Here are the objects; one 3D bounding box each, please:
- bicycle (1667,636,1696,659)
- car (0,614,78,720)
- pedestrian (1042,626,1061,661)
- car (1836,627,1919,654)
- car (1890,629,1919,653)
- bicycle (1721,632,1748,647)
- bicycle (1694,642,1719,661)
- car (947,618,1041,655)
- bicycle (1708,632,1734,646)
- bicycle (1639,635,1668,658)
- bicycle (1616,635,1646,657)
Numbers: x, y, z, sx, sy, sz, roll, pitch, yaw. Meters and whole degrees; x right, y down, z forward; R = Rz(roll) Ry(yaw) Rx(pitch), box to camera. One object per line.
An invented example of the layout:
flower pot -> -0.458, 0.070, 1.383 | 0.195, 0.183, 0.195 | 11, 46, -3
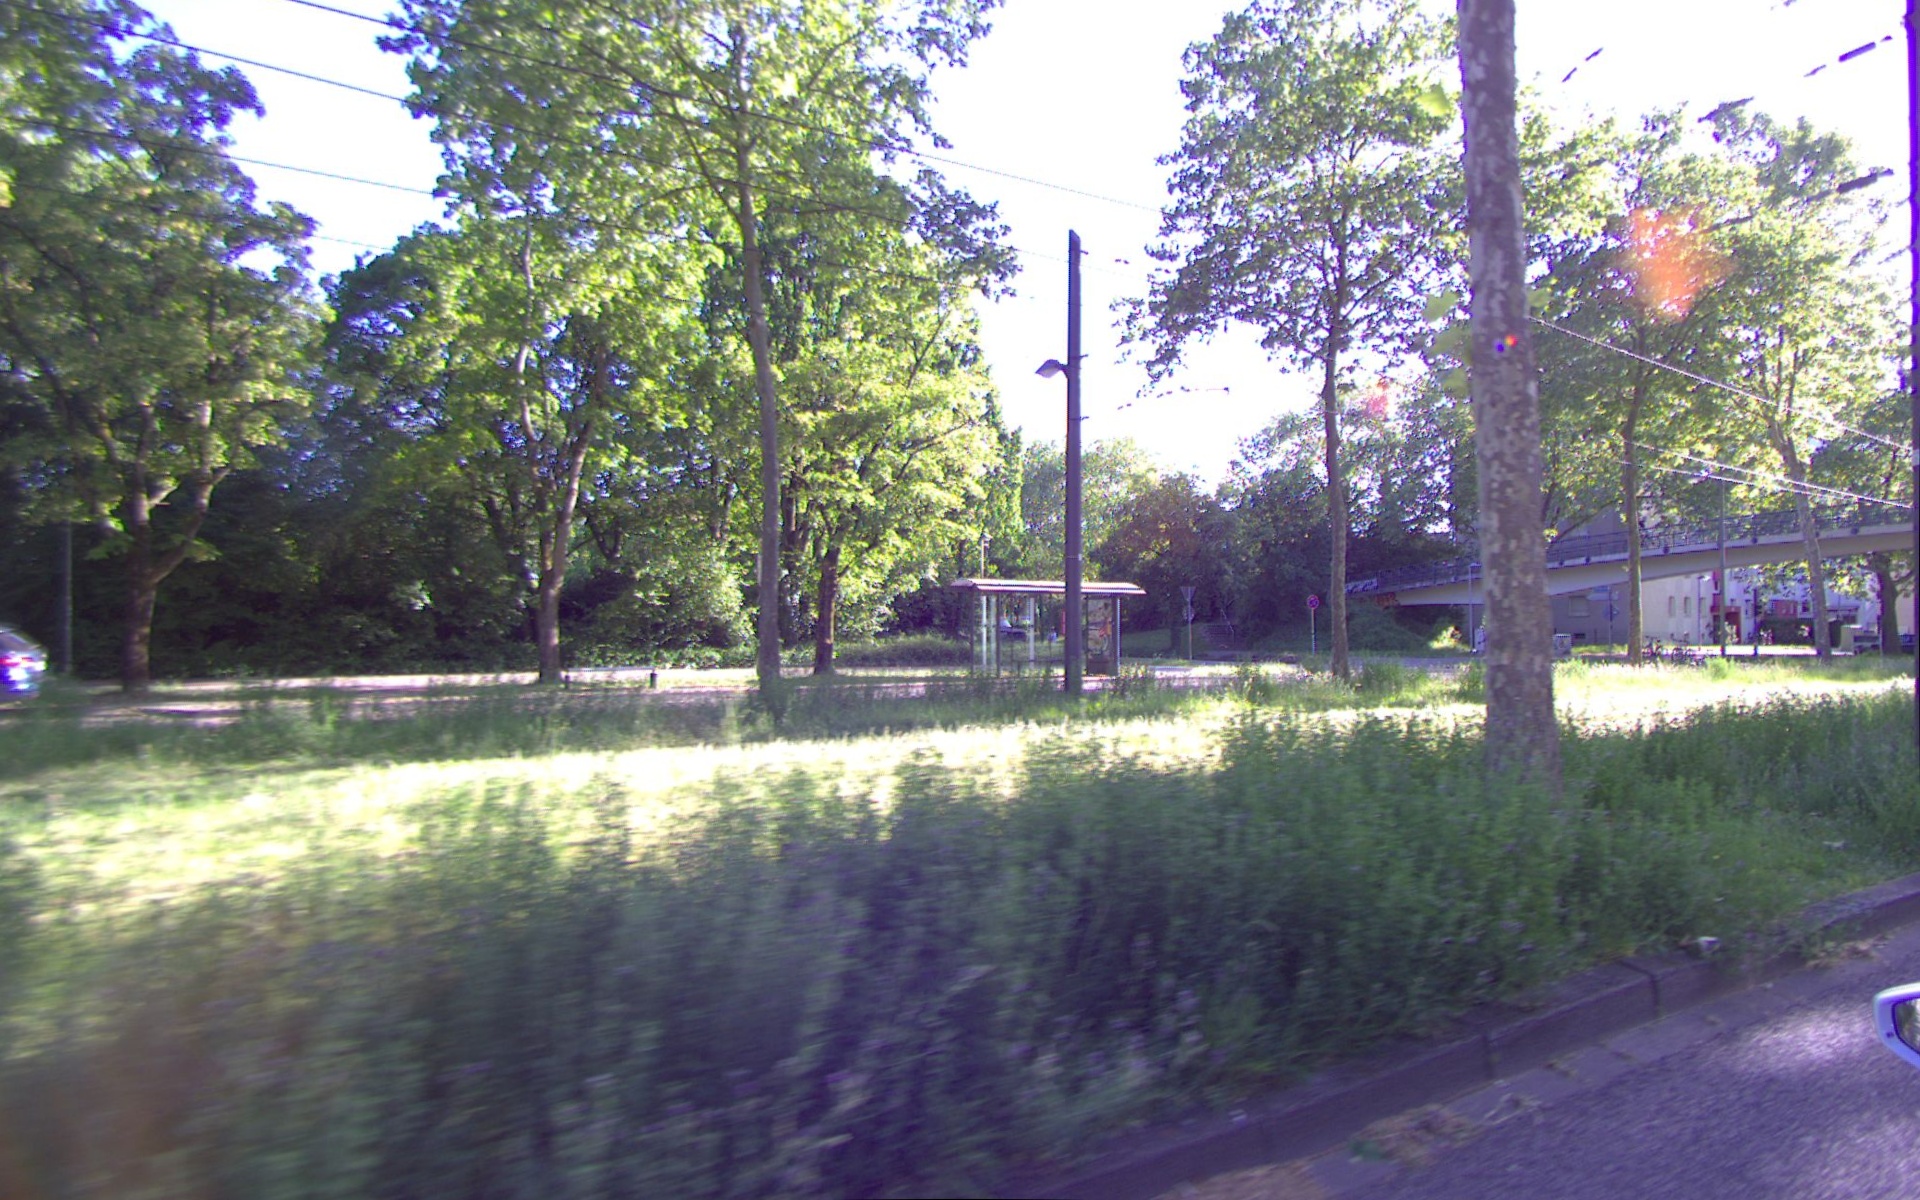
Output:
bicycle -> 32.931, 2.172, 45.843 | 1.666, 1.022, 0.432 | 1, 0, -29
car -> -16.718, 0.997, 15.318 | 4.573, 1.508, 1.888 | 2, 2, -30
pedestrian -> 4.098, 1.947, 44.978 | 0.581, 1.511, 0.530 | 2, 0, -35
car -> 54.240, 2.370, 58.801 | 4.119, 1.447, 1.699 | 1, 1, 24
car -> 60.203, 2.554, 61.685 | 4.119, 1.447, 1.699 | 1, 1, 24
bicycle -> 55.802, 2.833, 72.383 | 2.567, 0.940, 0.691 | 0, 1, -32
bicycle -> 33.022, 2.285, 44.447 | 1.160, 0.789, 0.432 | 1, 0, -29
car -> 1.835, 2.027, 57.193 | 2.203, 1.974, 6.095 | 2, -2, -34
bicycle -> 55.416, 2.831, 73.124 | 2.567, 0.940, 0.691 | 0, 1, -32
bicycle -> 32.676, 2.180, 47.340 | 1.666, 1.022, 0.432 | 1, 0, -29
bicycle -> 31.509, 2.148, 47.154 | 1.666, 1.022, 0.432 | 1, 0, -29
